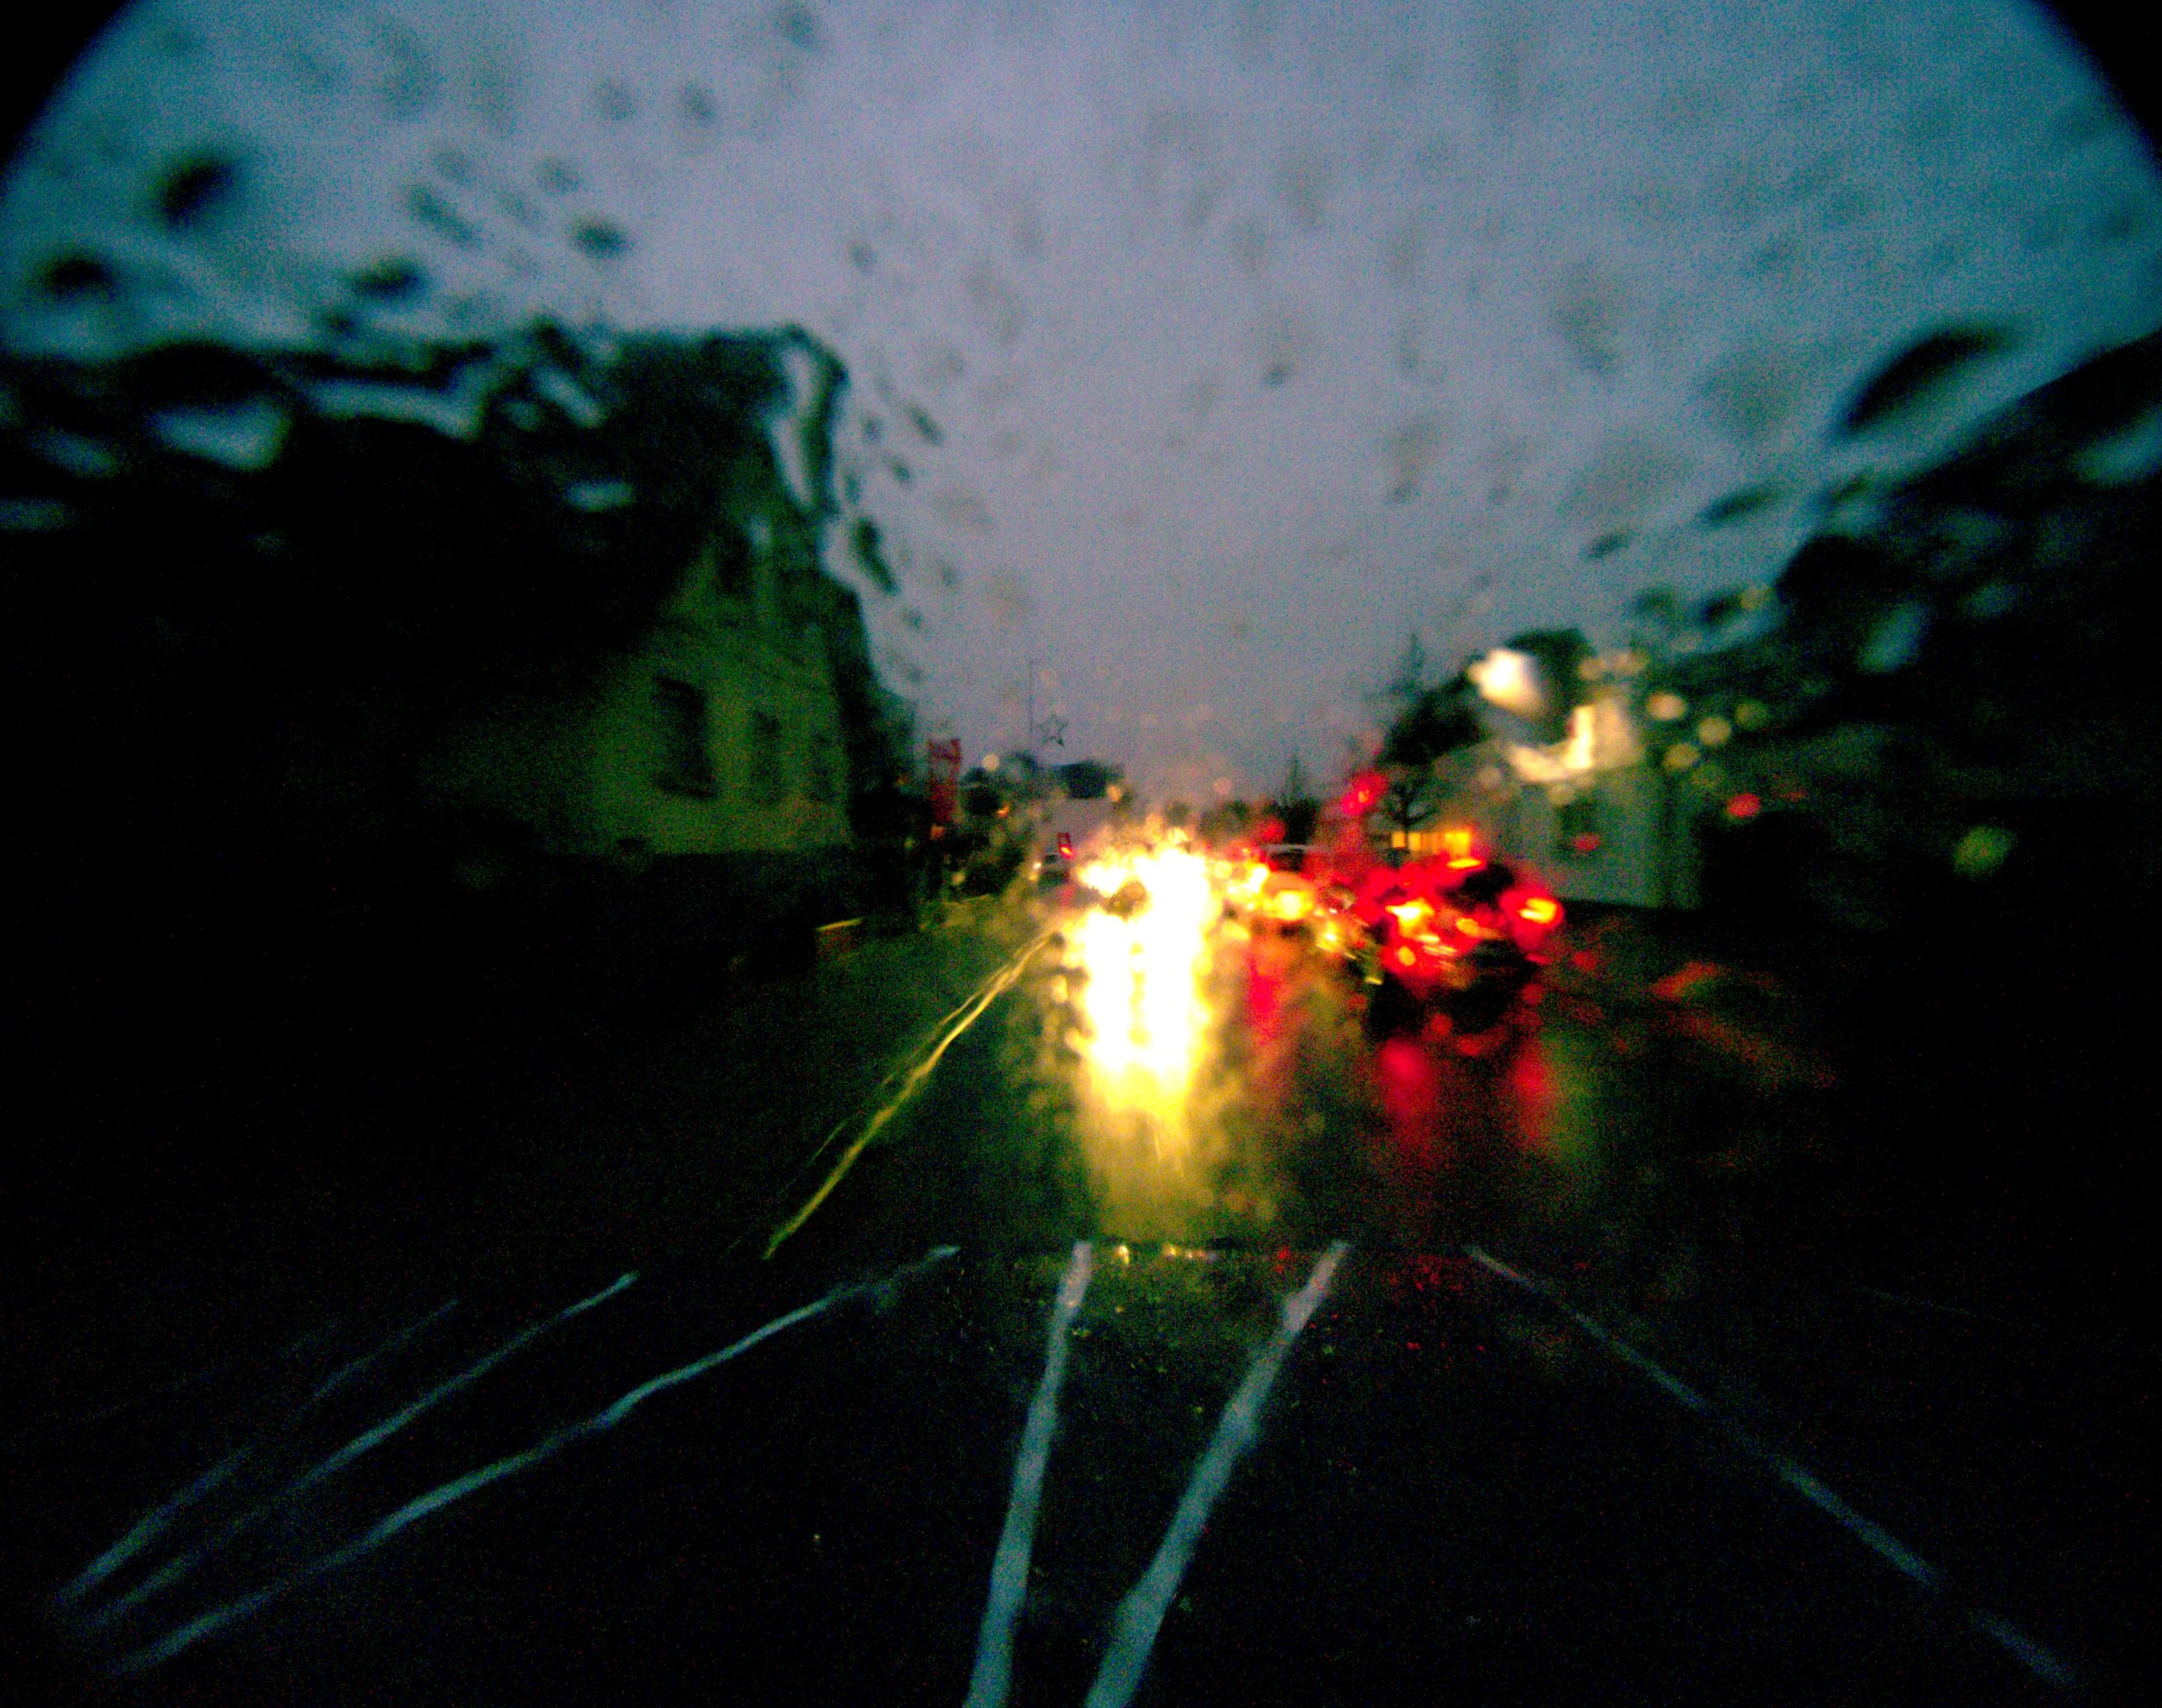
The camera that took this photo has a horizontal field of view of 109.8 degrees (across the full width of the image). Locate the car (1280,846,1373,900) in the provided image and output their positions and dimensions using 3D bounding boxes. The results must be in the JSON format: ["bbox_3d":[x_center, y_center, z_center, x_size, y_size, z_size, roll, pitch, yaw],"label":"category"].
[{"bbox_3d":[8.994,0.659,28.365,2.090,1.781,5.025,-1,0,3],"label":"car"}]

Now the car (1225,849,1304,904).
[{"bbox_3d":[6.383,0.772,26.917,1.998,1.695,4.970,-3,-1,6],"label":"car"}]

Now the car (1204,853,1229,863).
[{"bbox_3d":[22.531,0.705,126.328,3.838,1.537,2.002,-2,0,13],"label":"car"}]

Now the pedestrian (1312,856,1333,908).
[{"bbox_3d":[7.512,0.868,23.645,0.529,1.576,0.576,0,-1,5],"label":"pedestrian"}]

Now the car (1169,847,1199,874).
[{"bbox_3d":[7.885,0.479,58.406,1.998,2.002,4.001,-2,0,4],"label":"car"}]

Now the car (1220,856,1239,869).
[{"bbox_3d":[17.330,0.926,88.732,1.698,1.423,4.379,-2,0,6],"label":"car"}]

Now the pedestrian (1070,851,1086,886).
[{"bbox_3d":[-0.160,0.723,38.046,0.705,1.695,0.915,1,1,4],"label":"pedestrian"}]

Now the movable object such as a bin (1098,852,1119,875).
[{"bbox_3d":[2.070,0.718,57.098,1.395,1.634,1.262,2,0,5],"label":"movable object such as a bin"}]

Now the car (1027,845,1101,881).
[{"bbox_3d":[-1.024,0.534,46.841,4.096,2.038,2.002,2,1,16],"label":"car"}]

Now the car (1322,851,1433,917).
[{"bbox_3d":[8.476,0.775,22.192,1.884,1.700,4.714,-2,0,7],"label":"car"}]

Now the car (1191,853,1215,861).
[{"bbox_3d":[21.239,0.539,132.060,3.994,1.291,2.002,-2,0,11],"label":"car"}]

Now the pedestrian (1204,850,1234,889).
[{"bbox_3d":[6.720,0.761,36.981,0.944,1.865,1.010,-1,0,-35],"label":"pedestrian"}]

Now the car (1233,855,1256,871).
[{"bbox_3d":[16.679,0.879,77.593,1.788,1.480,4.184,-2,0,6],"label":"car"}]

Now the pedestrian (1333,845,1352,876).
[{"bbox_3d":[14.351,0.371,41.741,0.827,1.649,1.098,-2,0,15],"label":"pedestrian"}]

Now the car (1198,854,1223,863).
[{"bbox_3d":[22.013,0.758,129.017,3.992,1.538,2.002,-2,0,16],"label":"car"}]

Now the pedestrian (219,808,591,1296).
[{"bbox_3d":[-2.700,0.708,3.149,0.746,1.719,0.873,0,-1,5],"label":"pedestrian"}]

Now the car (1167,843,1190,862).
[{"bbox_3d":[9.691,-0.155,75.933,1.998,1.844,4.001,-2,0,4],"label":"car"}]

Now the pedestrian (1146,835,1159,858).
[{"bbox_3d":[5.963,-0.646,63.294,0.968,1.878,1.006,-2,1,5],"label":"pedestrian"}]

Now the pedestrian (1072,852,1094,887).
[{"bbox_3d":[0.110,0.735,37.170,0.837,1.695,0.846,1,1,19],"label":"pedestrian"}]

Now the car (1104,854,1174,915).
[{"bbox_3d":[1.870,0.886,24.094,1.998,1.720,4.001,-2,0,5],"label":"car"}]

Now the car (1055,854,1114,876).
[{"bbox_3d":[0.290,0.799,54.805,3.993,1.478,1.914,0,1,11],"label":"car"}]

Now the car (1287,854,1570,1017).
[{"bbox_3d":[4.088,0.818,9.834,1.861,1.547,4.258,3,0,4],"label":"car"}]

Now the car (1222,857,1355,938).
[{"bbox_3d":[4.471,0.950,17.089,1.956,1.537,4.418,1,-3,3],"label":"car"}]

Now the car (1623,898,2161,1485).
[{"bbox_3d":[3.985,0.965,2.033,1.999,1.546,4.258,0,-1,0],"label":"car"}]

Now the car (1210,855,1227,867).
[{"bbox_3d":[18.331,0.966,101.655,1.839,1.526,4.140,-2,0,5],"label":"car"}]
